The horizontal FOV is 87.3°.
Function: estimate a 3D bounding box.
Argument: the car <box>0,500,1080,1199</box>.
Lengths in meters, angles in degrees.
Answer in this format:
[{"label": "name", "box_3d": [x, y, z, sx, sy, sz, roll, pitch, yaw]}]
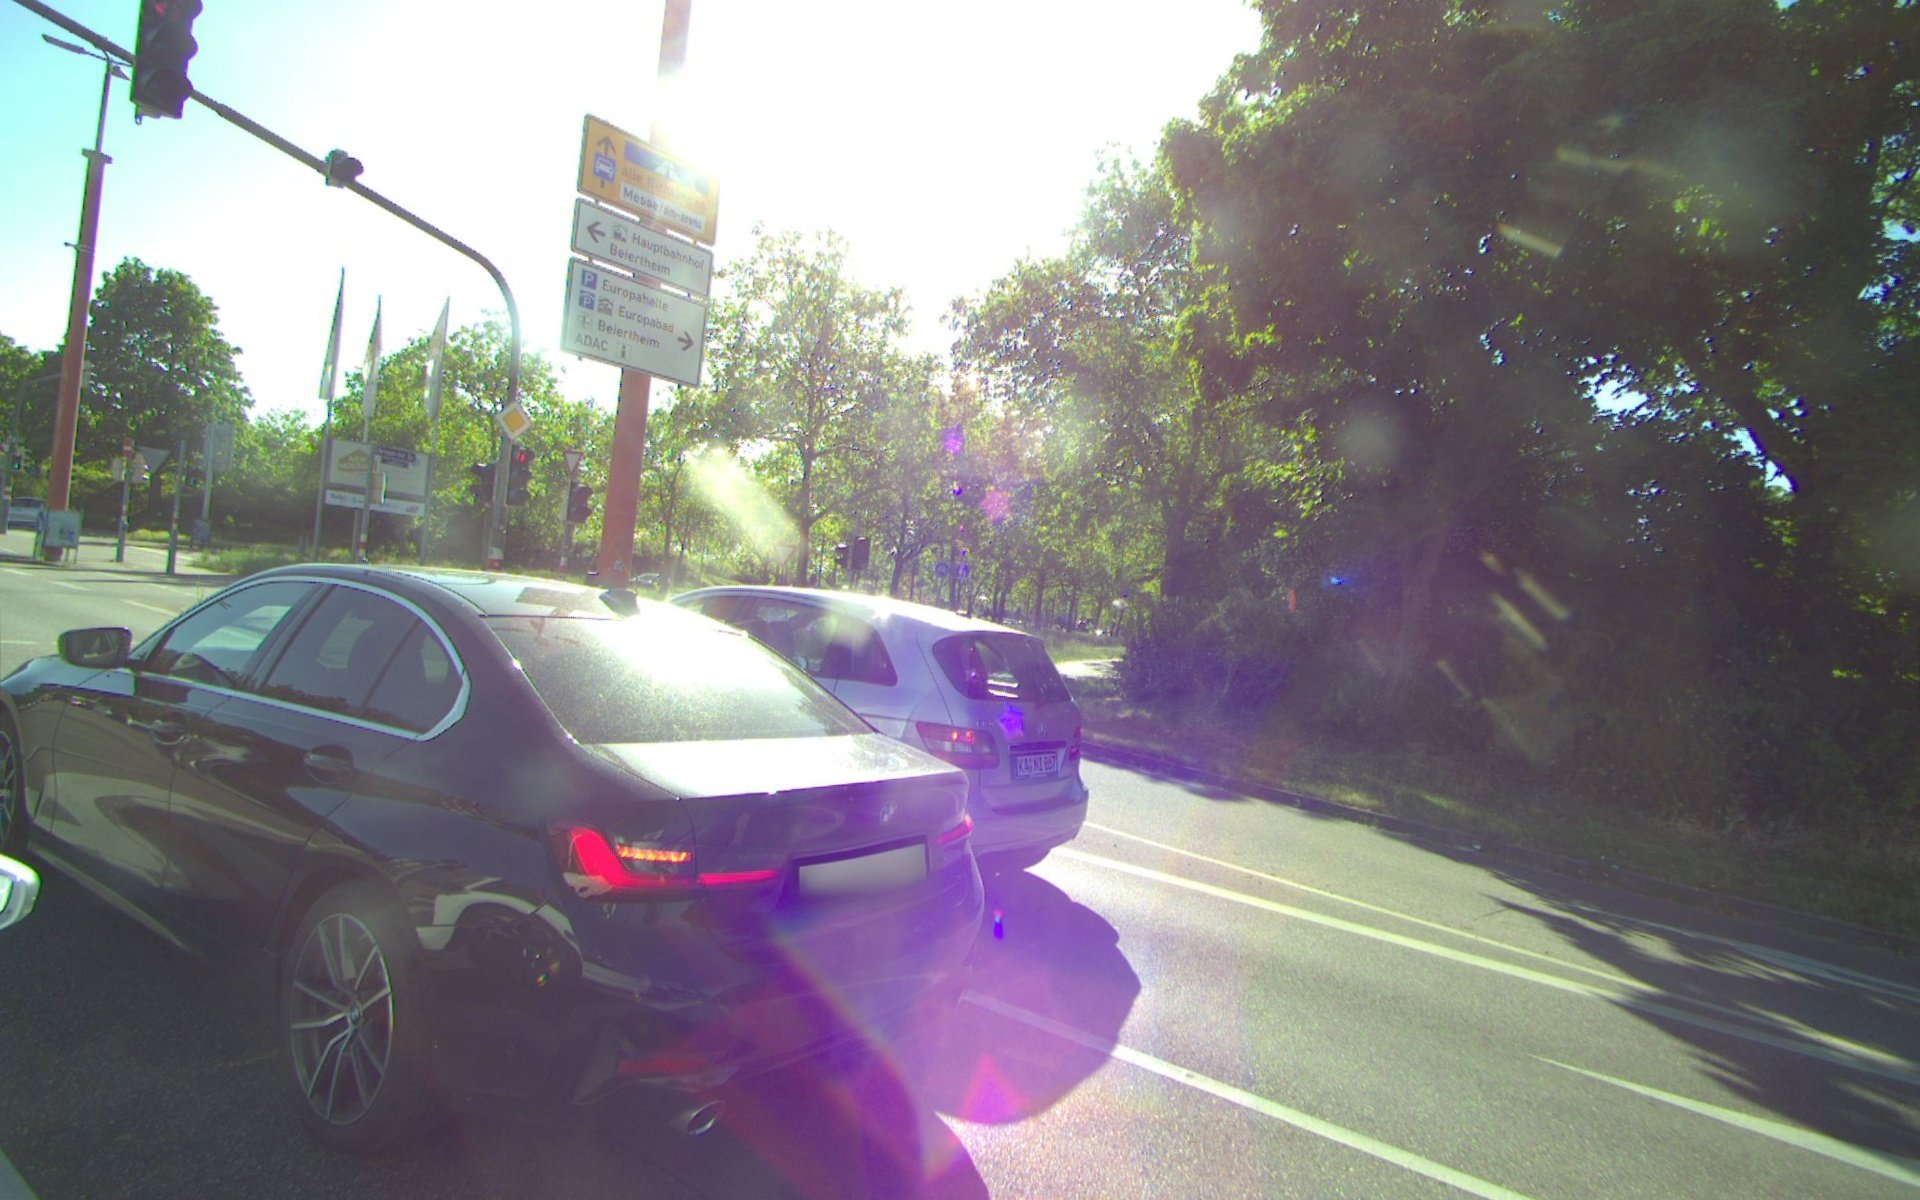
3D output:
[{"label": "car", "box_3d": [-1.982, 0.547, 3.851, 4.372, 1.415, 1.871, 7, 0, 34]}]

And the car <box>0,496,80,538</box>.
[{"label": "car", "box_3d": [-41.984, -3.792, 44.672, 3.948, 1.485, 1.673, 7, 0, -27]}]

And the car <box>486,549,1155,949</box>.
[{"label": "car", "box_3d": [-1.012, 0.708, 6.485, 3.963, 1.597, 1.741, 7, 0, 33]}]

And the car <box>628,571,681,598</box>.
[{"label": "car", "box_3d": [-23.007, -1.129, 75.911, 1.834, 1.597, 4.002, 7, -1, 17]}]
